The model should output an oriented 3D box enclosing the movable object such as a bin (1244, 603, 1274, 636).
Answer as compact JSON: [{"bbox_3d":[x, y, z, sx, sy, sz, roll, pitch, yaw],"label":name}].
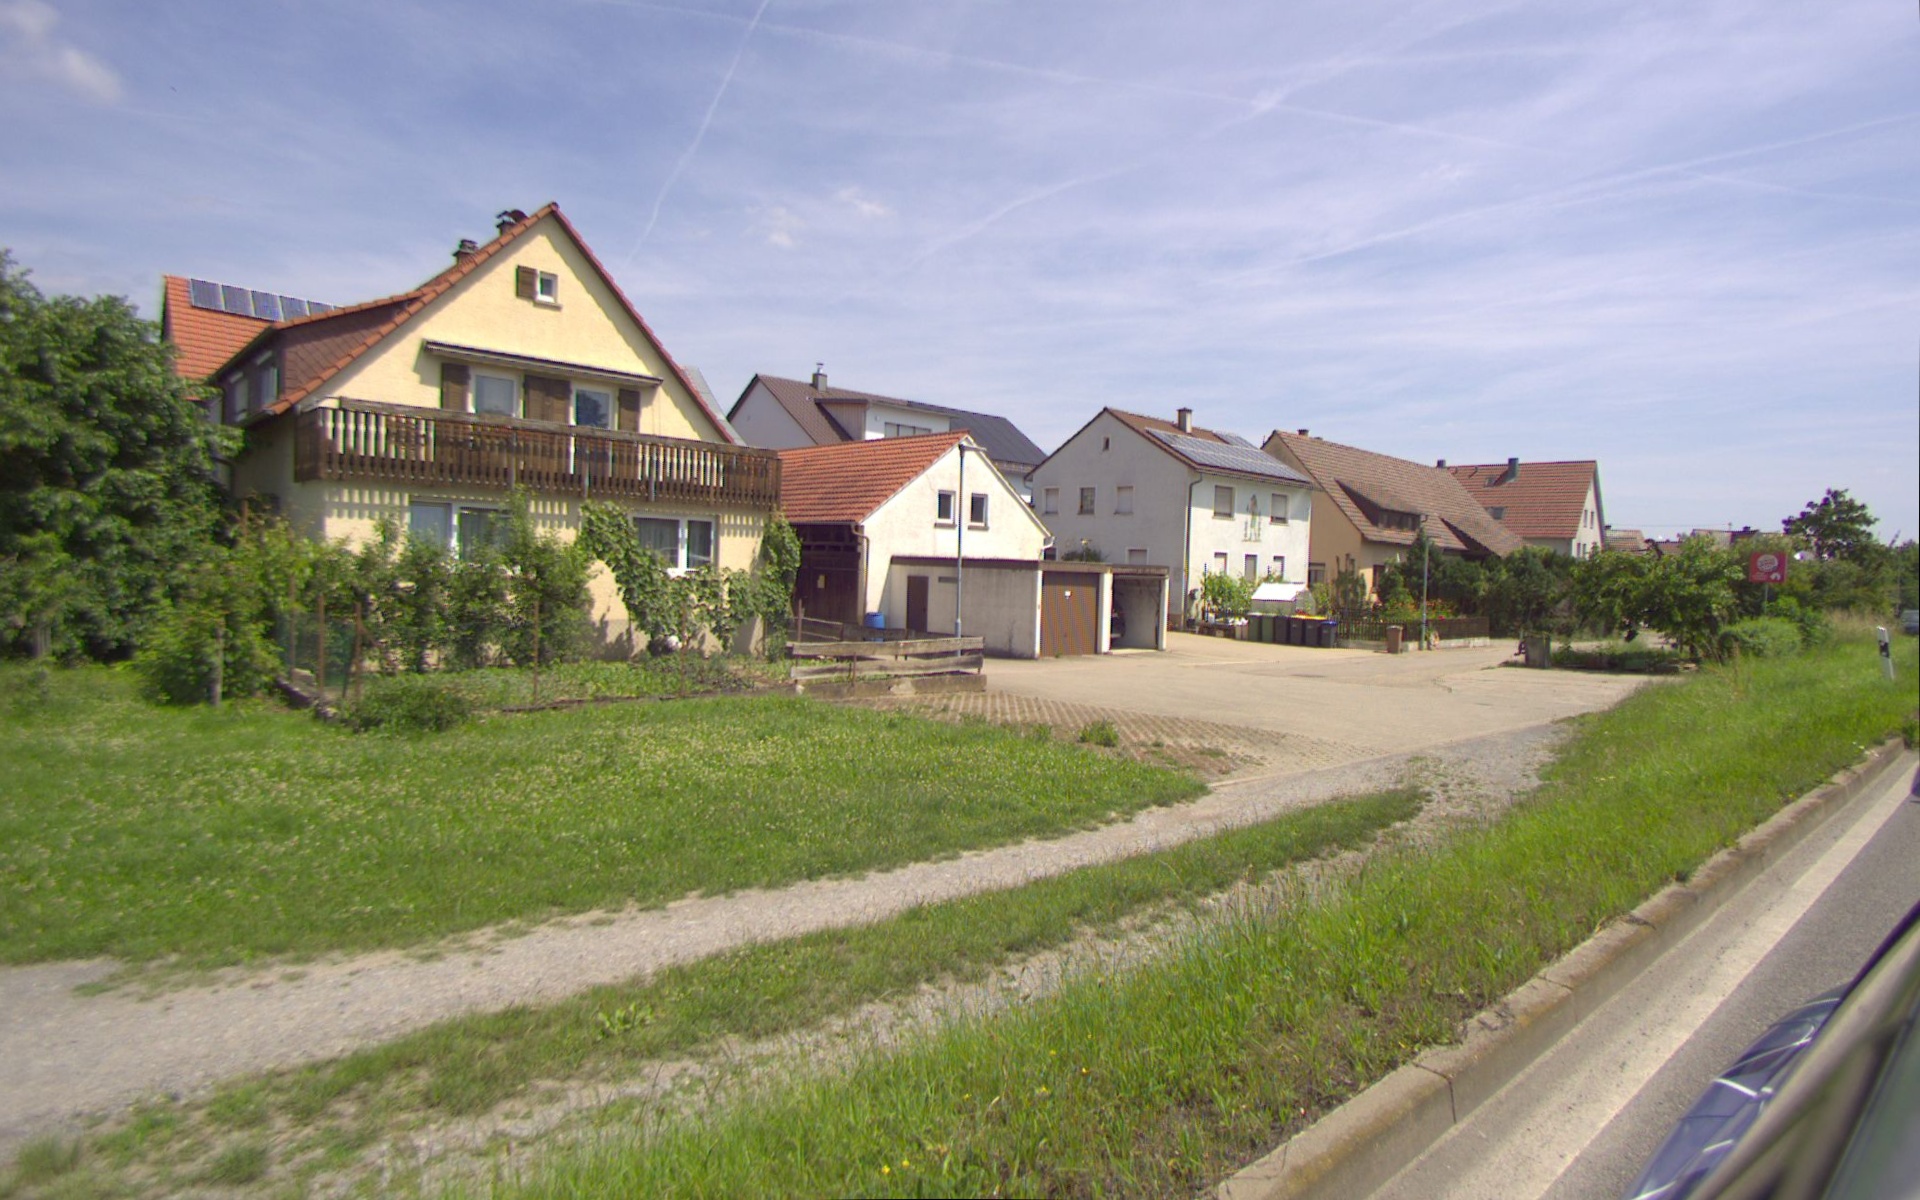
[{"bbox_3d":[11.605,0.755,39.266,0.874,1.262,0.744,1,0,-42],"label":"movable object such as a bin"}]

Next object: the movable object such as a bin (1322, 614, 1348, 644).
[{"bbox_3d":[13.588,1.038,36.667,0.743,1.040,0.645,1,0,-42],"label":"movable object such as a bin"}]

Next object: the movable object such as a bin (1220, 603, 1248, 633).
[{"bbox_3d":[10.769,0.695,39.841,0.816,1.171,0.739,1,0,-42],"label":"movable object such as a bin"}]

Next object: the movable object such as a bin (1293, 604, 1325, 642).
[{"bbox_3d":[12.870,0.848,37.369,0.930,1.387,0.764,1,0,-42],"label":"movable object such as a bin"}]

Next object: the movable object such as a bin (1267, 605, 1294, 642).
[{"bbox_3d":[12.216,0.884,38.582,0.806,1.355,0.677,1,0,-42],"label":"movable object such as a bin"}]

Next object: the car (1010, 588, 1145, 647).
[{"bbox_3d":[3.566,0.490,31.288,1.794,1.624,3.995,1,1,-40],"label":"car"}]
